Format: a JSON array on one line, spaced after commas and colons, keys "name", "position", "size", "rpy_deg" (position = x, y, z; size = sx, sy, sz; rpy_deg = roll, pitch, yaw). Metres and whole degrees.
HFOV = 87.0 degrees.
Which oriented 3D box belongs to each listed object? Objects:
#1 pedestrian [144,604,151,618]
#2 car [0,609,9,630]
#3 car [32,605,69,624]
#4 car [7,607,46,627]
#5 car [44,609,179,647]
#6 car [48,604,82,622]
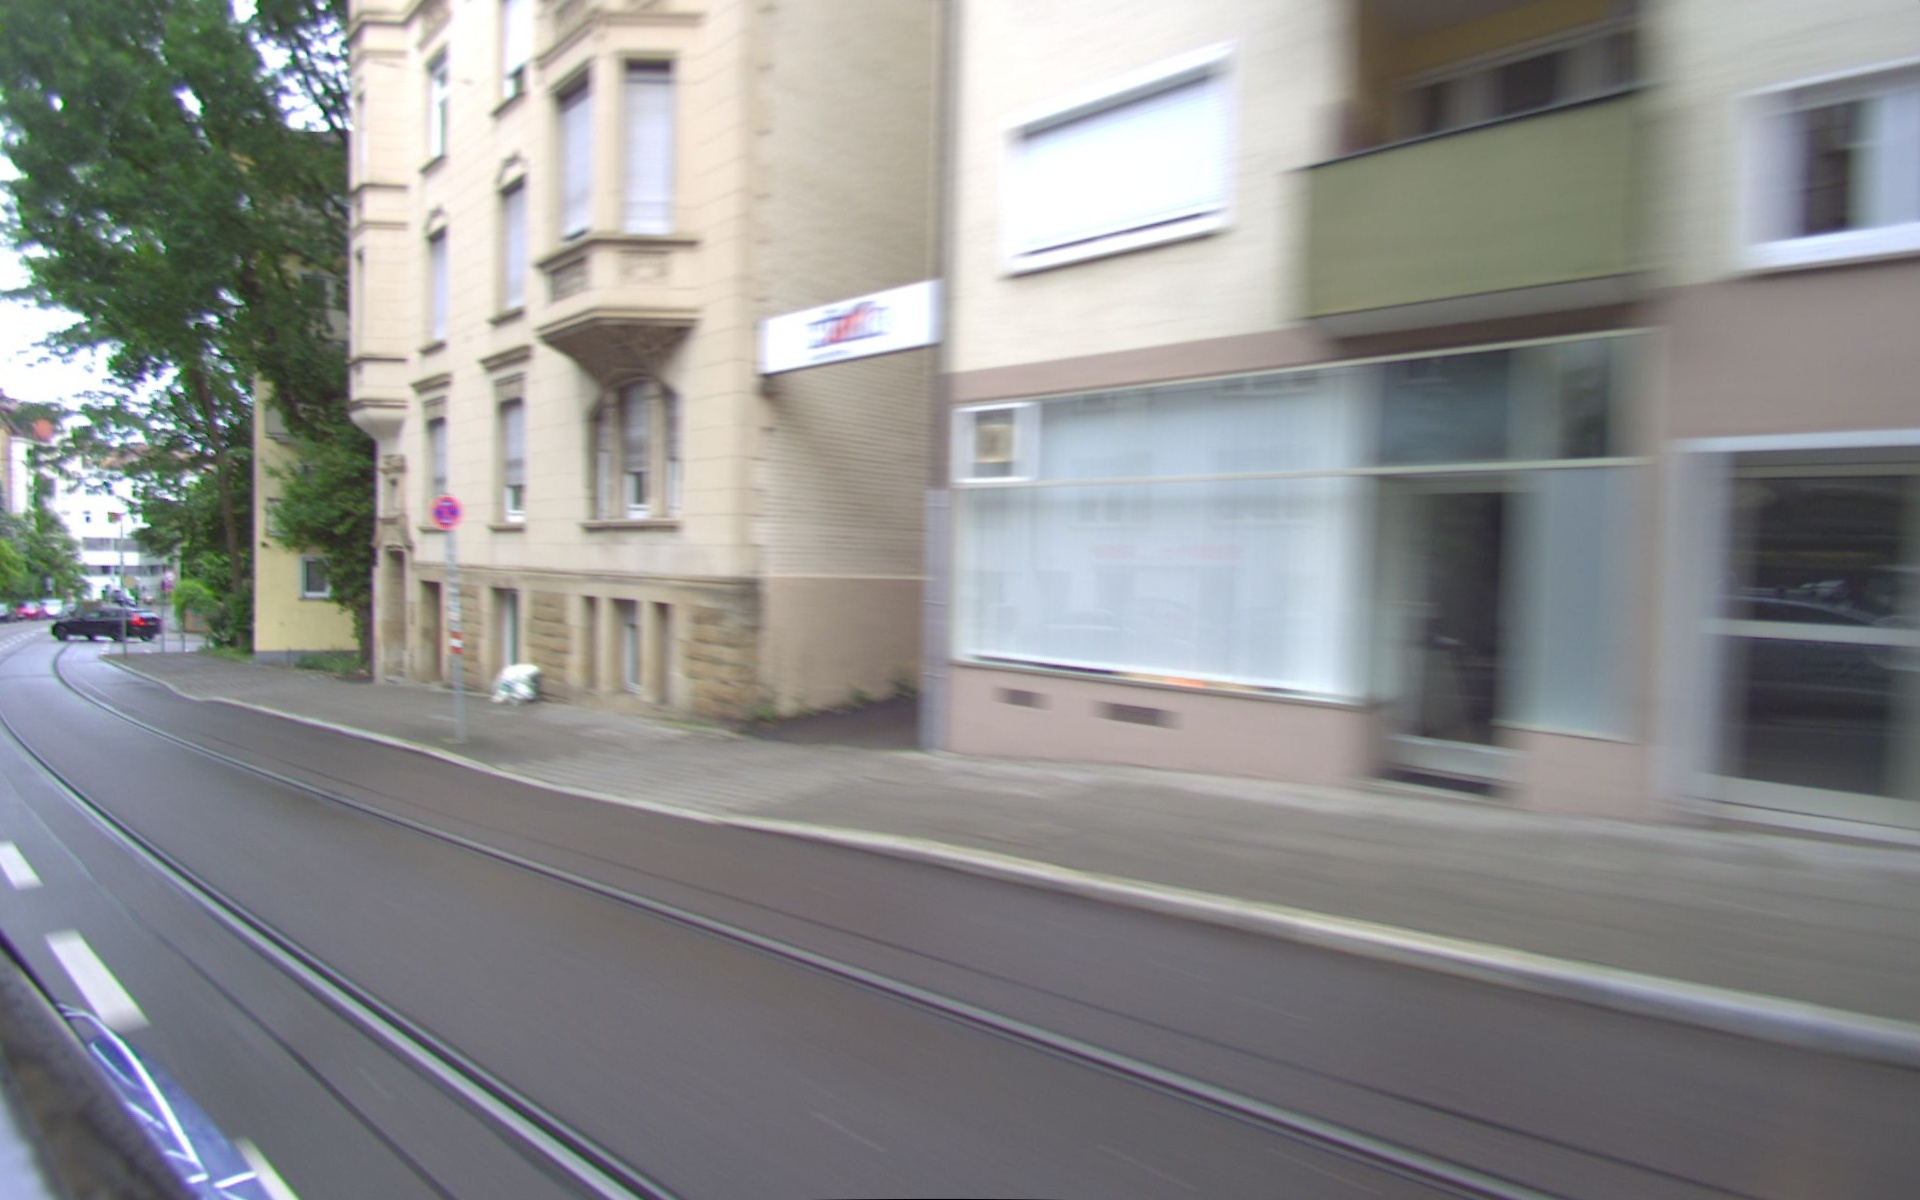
[{"name": "pedestrian", "position": [-99.123, 1.370, 123.486], "size": [0.640, 1.674, 0.651], "rpy_deg": [0, -1, -40]}, {"name": "car", "position": [-68.965, 1.418, 71.831], "size": [1.633, 1.378, 3.644], "rpy_deg": [-2, 2, -36]}, {"name": "car", "position": [-77.450, 1.215, 86.192], "size": [1.588, 1.453, 3.699], "rpy_deg": [-2, 2, -31]}, {"name": "car", "position": [-72.574, 1.315, 78.730], "size": [1.532, 1.378, 3.133], "rpy_deg": [-2, 2, -31]}, {"name": "car", "position": [-41.619, 1.373, 49.763], "size": [4.696, 1.690, 2.075], "rpy_deg": [1, 0, -7]}, {"name": "car", "position": [-80.088, 1.151, 90.569], "size": [1.588, 1.453, 3.699], "rpy_deg": [-2, 2, -31]}]
